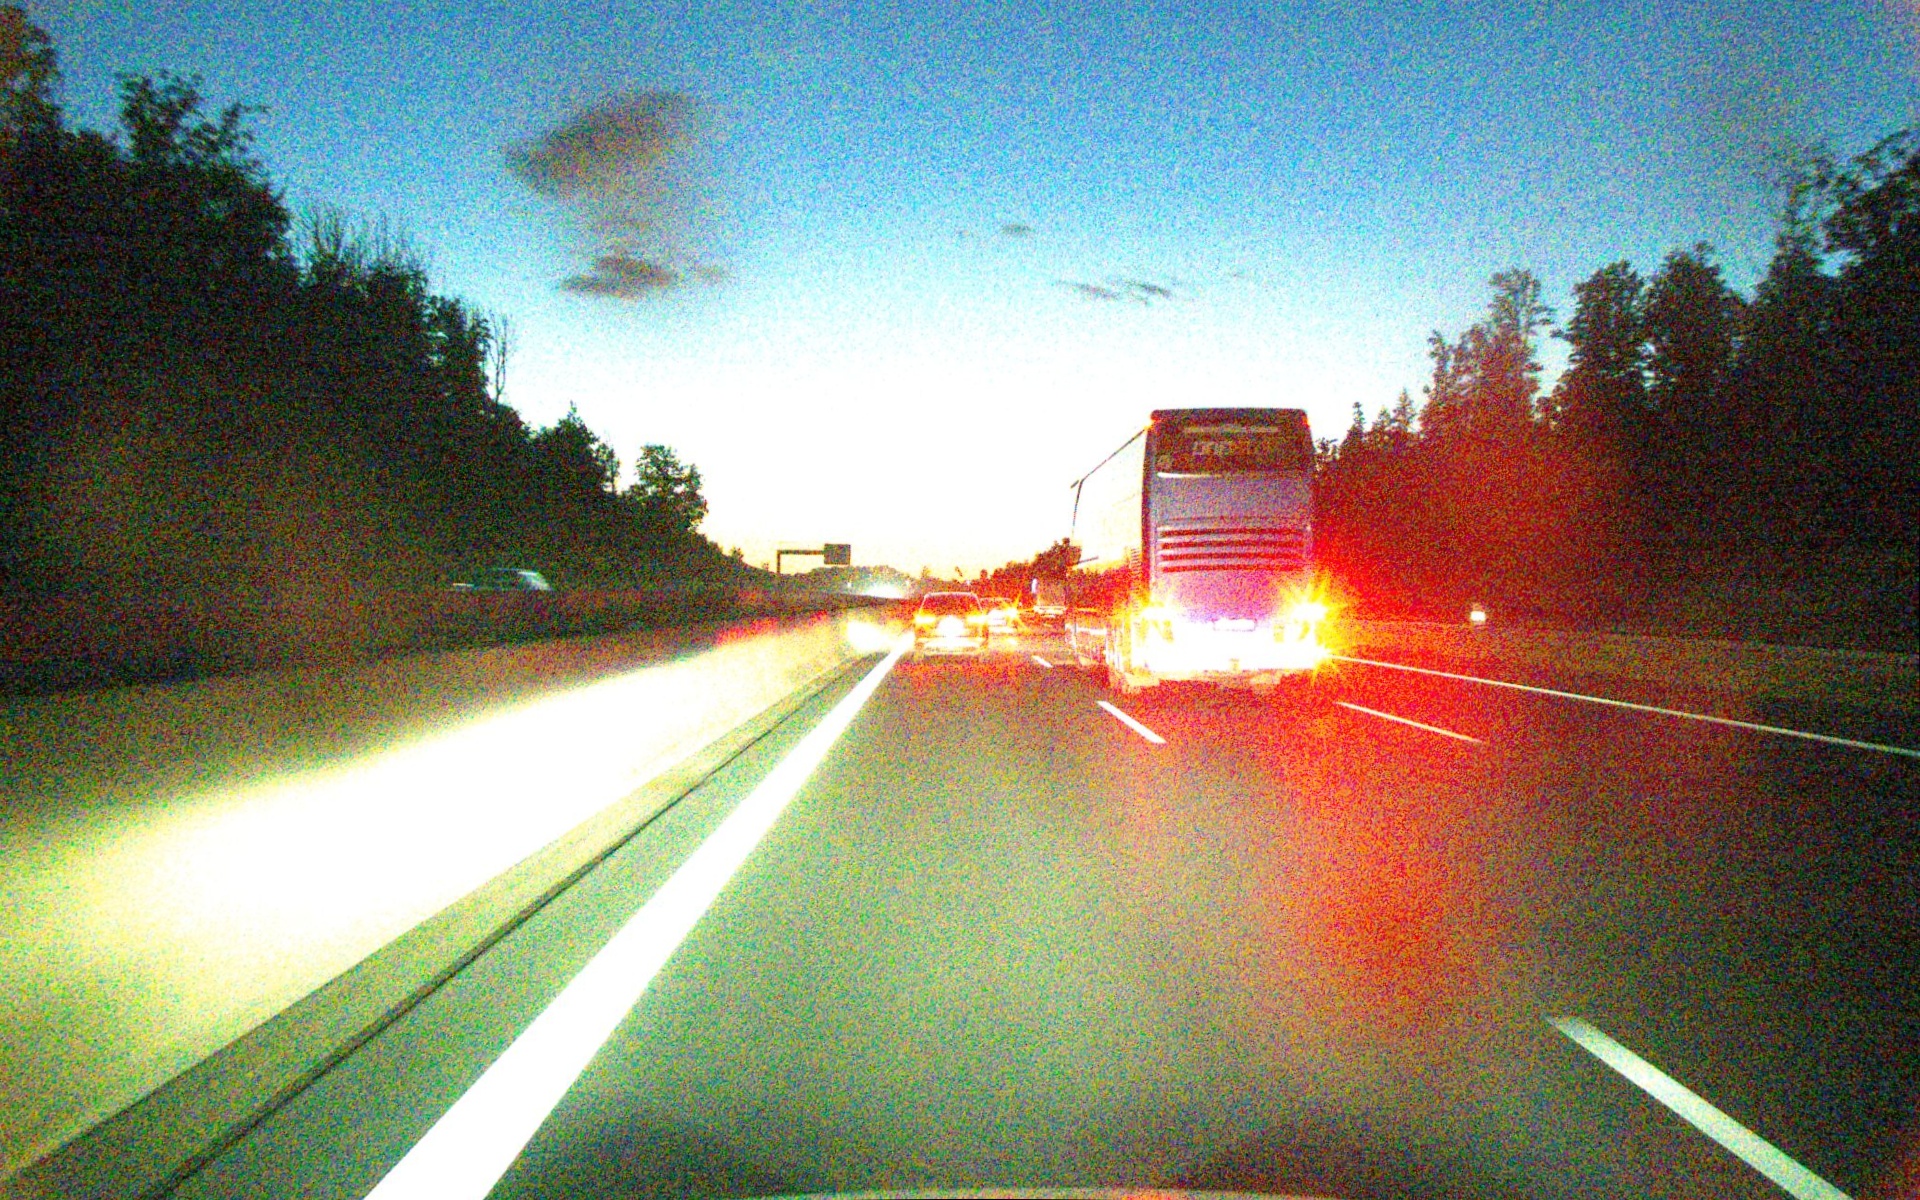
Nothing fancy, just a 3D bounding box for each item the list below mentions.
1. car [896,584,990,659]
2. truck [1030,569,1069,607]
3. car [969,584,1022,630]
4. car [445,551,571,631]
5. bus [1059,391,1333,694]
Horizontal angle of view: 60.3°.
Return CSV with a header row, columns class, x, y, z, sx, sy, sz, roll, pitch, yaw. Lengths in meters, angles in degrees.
class,x,y,z,sx,sy,sz,roll,pitch,yaw
car,-0.447,0.499,38.791,2.063,1.646,4.202,1,-1,-2
truck,7.080,-0.933,131.754,2.550,2.925,7.483,1,0,-1
car,1.381,0.284,65.931,1.873,1.760,3.998,0,-1,-2
car,-11.386,-0.249,42.008,1.953,1.807,4.747,3,1,-2
bus,3.627,-0.725,29.661,2.598,4.064,14.698,1,0,-1
